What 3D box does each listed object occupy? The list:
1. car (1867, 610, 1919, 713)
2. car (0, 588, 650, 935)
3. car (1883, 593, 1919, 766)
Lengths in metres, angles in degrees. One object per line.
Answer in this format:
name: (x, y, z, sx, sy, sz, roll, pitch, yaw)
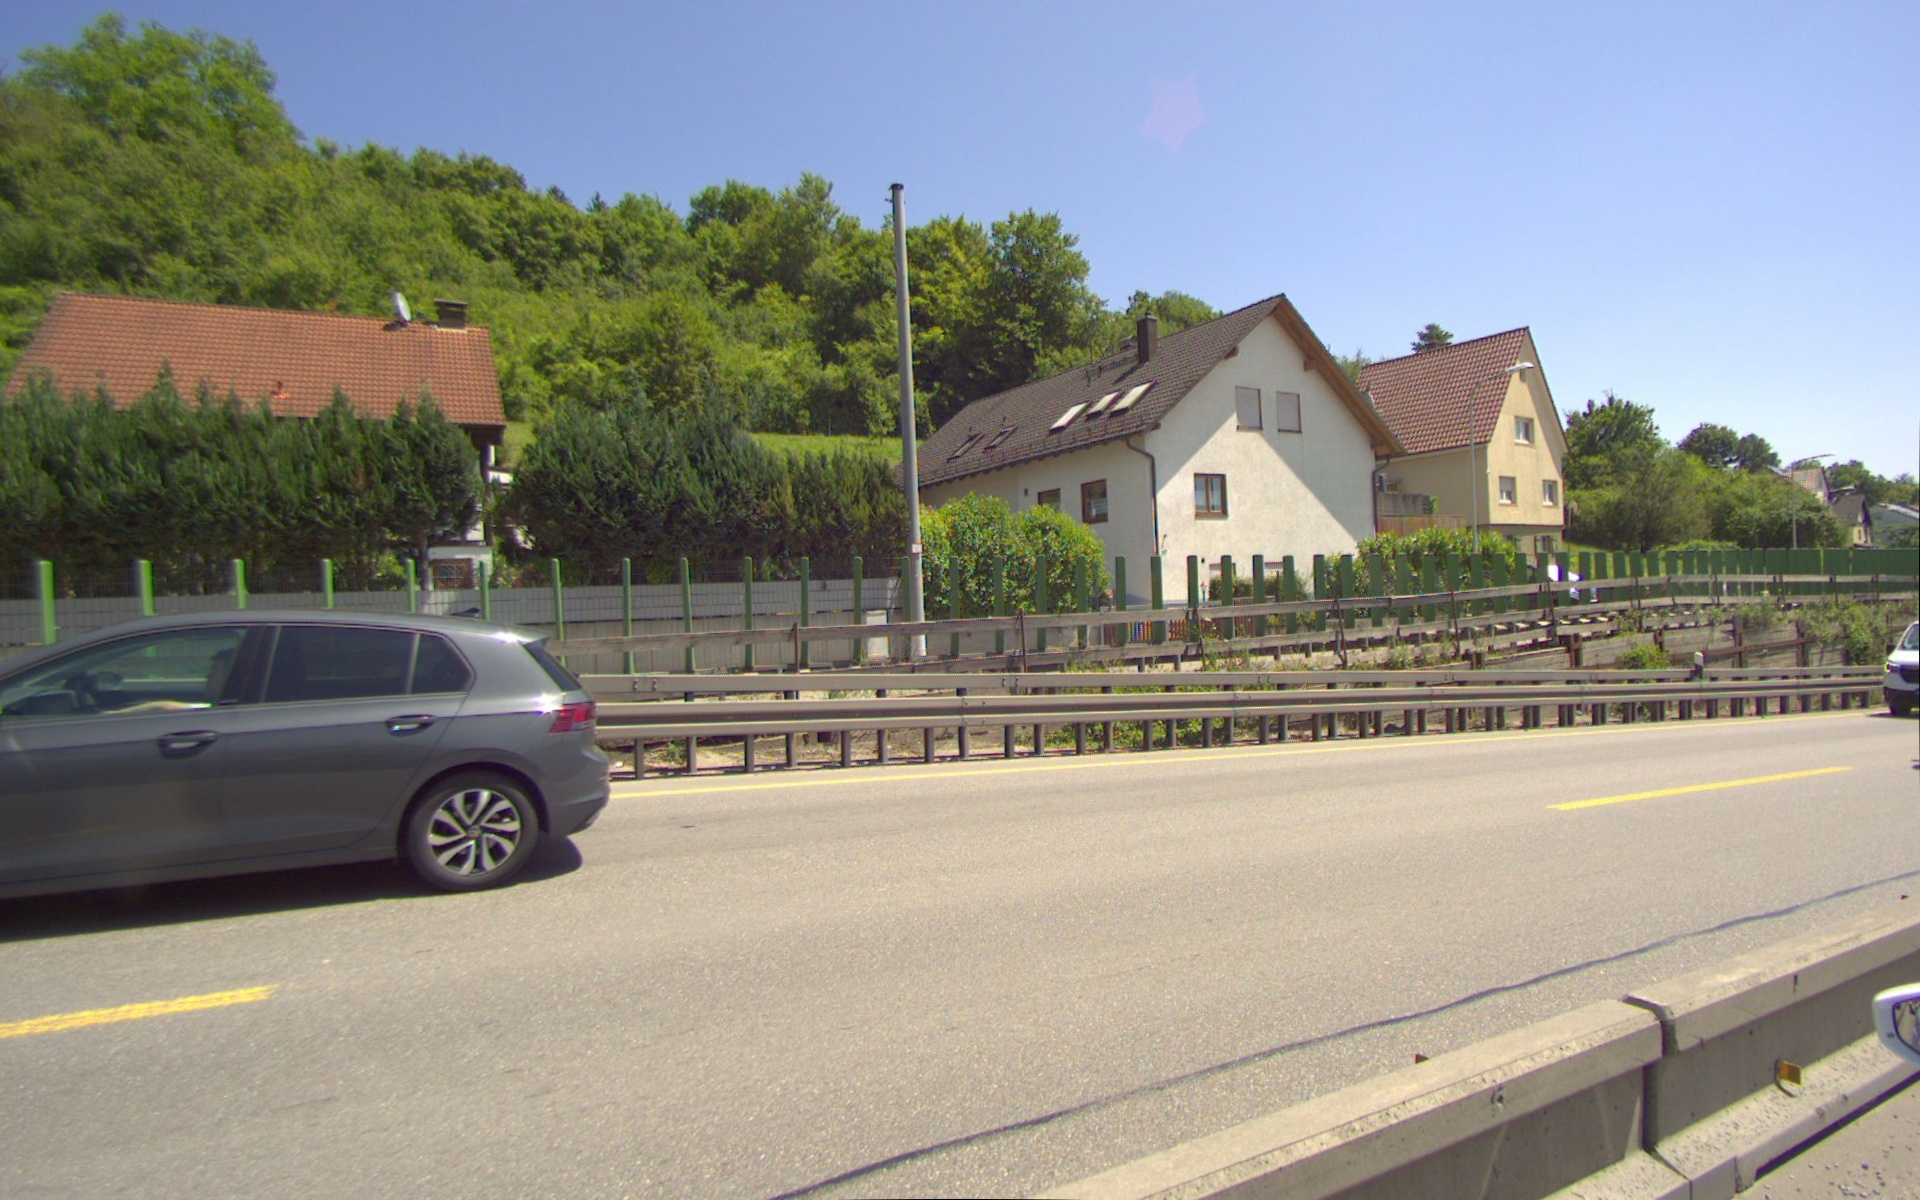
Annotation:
car: (20.504, 1.199, 20.224, 5.180, 1.951, 1.817, 1, -1, -30)
car: (-3.891, 0.703, 5.329, 4.005, 1.461, 1.741, 2, -1, -30)
car: (13.366, 0.948, 11.903, 5.264, 1.931, 2.147, 2, -2, -30)
